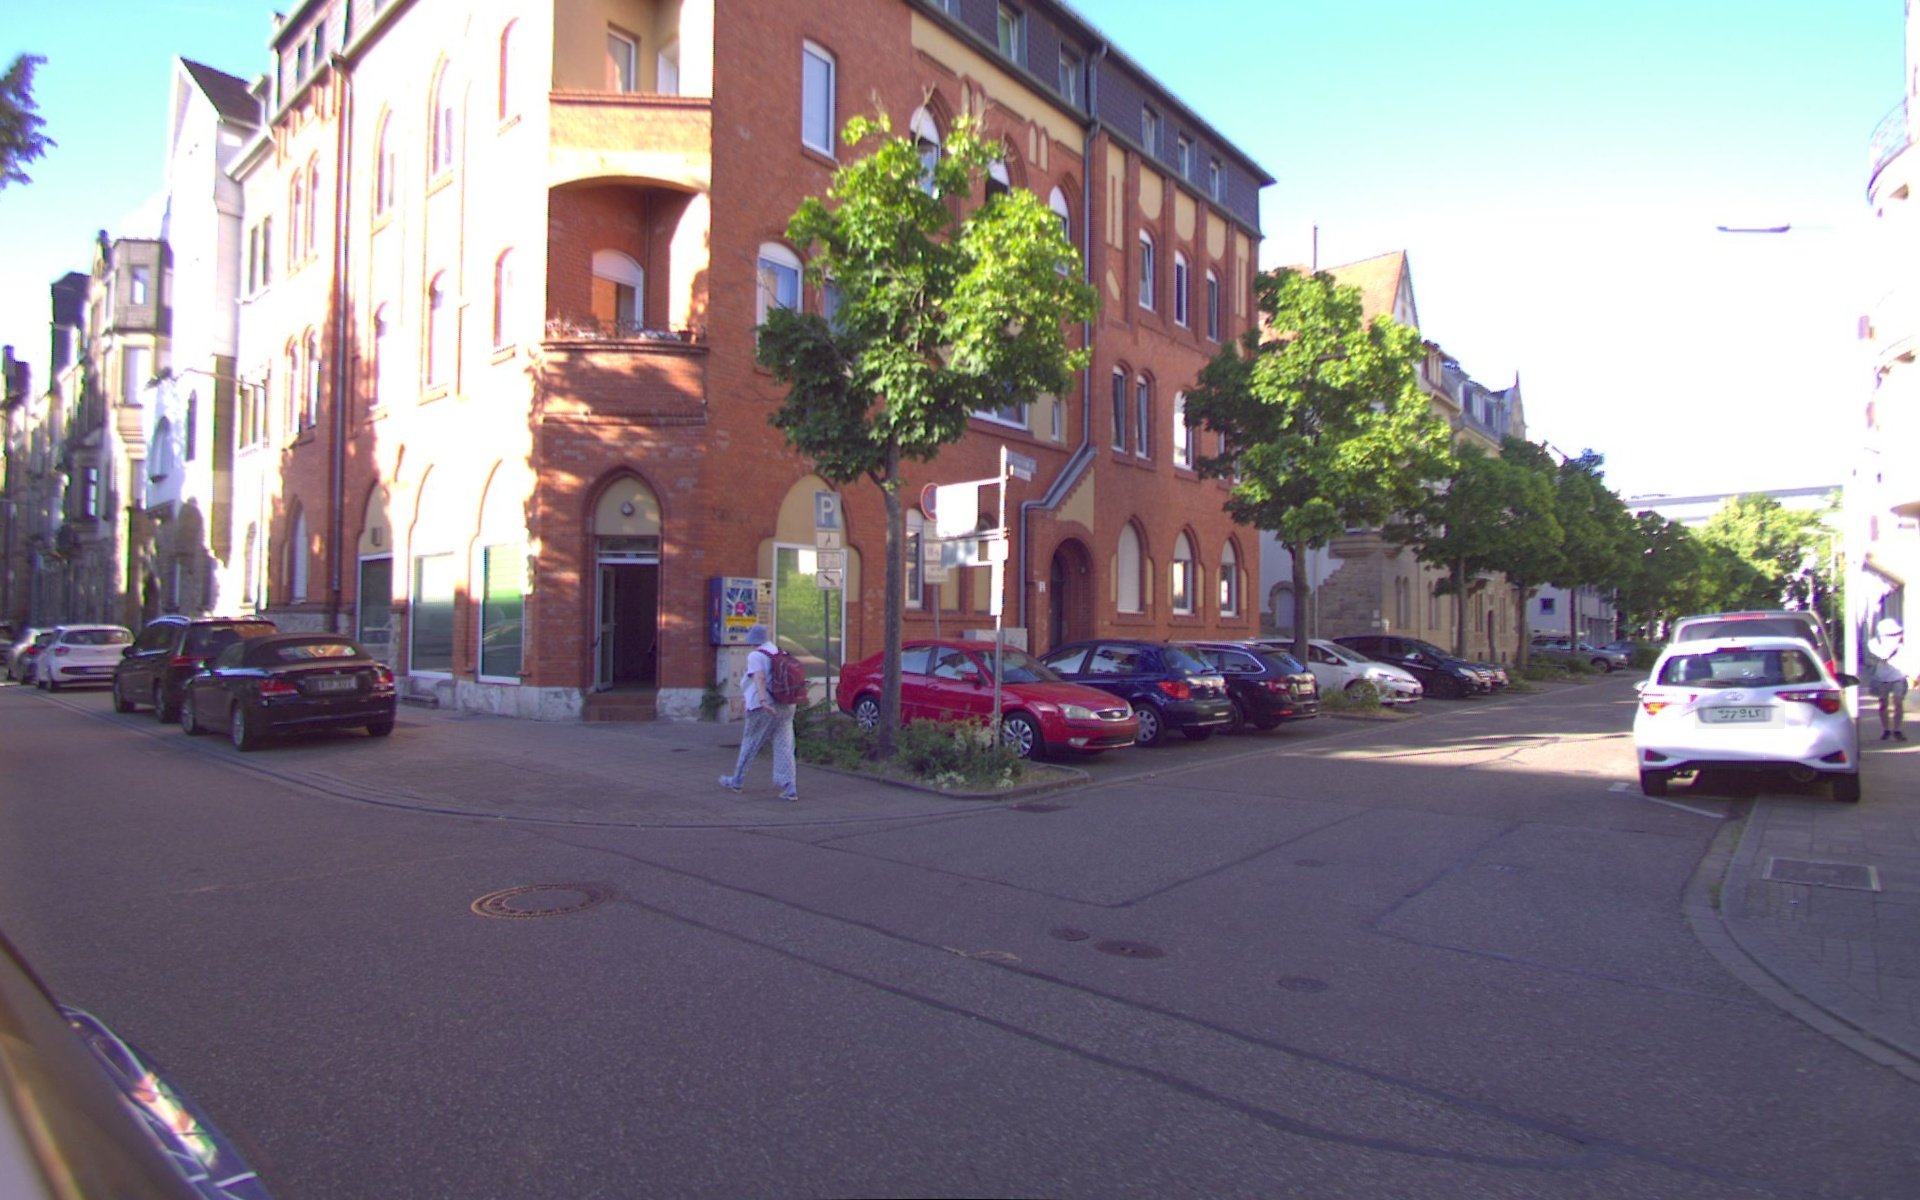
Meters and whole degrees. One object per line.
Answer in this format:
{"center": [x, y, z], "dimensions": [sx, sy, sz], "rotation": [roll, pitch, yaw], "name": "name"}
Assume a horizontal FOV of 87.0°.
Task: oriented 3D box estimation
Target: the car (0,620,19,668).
{"center": [-36.429, 1.630, 37.499], "dimensions": [4.337, 1.730, 1.856], "rotation": [-2, -2, 41], "name": "car"}

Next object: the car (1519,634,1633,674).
{"center": [27.891, 2.434, 45.887], "dimensions": [4.209, 1.713, 1.696], "rotation": [-1, -3, 40], "name": "car"}

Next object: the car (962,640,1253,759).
{"center": [2.176, 1.425, 15.609], "dimensions": [4.210, 1.562, 1.695], "rotation": [-1, -3, 41], "name": "car"}

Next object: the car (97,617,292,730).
{"center": [-13.018, 1.127, 17.122], "dimensions": [4.346, 1.693, 1.653], "rotation": [-1, -1, 39], "name": "car"}

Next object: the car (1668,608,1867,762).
{"center": [11.719, 1.176, 14.765], "dimensions": [1.865, 1.881, 4.666], "rotation": [-5, -5, 38], "name": "car"}

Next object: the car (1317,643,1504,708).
{"center": [11.823, 1.936, 26.724], "dimensions": [4.211, 1.562, 1.695], "rotation": [-2, -3, 42], "name": "car"}

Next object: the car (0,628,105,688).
{"center": [-24.362, 1.502, 27.044], "dimensions": [4.108, 1.454, 1.660], "rotation": [-2, -2, 40], "name": "car"}

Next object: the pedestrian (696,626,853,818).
{"center": [-1.707, 1.070, 9.314], "dimensions": [1.053, 1.589, 0.878], "rotation": [2, -1, 41], "name": "pedestrian"}

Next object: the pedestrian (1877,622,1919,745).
{"center": [13.507, 1.198, 14.367], "dimensions": [0.699, 1.700, 0.755], "rotation": [-1, -6, 42], "name": "pedestrian"}

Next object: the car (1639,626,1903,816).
{"center": [8.256, 1.121, 10.405], "dimensions": [1.716, 1.562, 3.758], "rotation": [-5, -5, 39], "name": "car"}

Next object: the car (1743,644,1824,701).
{"center": [21.788, 1.900, 26.828], "dimensions": [1.486, 1.416, 3.370], "rotation": [-5, -5, 38], "name": "car"}

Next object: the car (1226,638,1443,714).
{"center": [8.314, 1.747, 22.723], "dimensions": [4.211, 1.562, 1.694], "rotation": [-5, -7, 42], "name": "car"}

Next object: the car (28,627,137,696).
{"center": [-20.527, 1.381, 23.636], "dimensions": [3.591, 1.481, 1.549], "rotation": [-2, -2, 43], "name": "car"}

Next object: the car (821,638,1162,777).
{"center": [0.268, 1.303, 13.653], "dimensions": [4.656, 1.480, 1.618], "rotation": [-1, -1, 41], "name": "car"}

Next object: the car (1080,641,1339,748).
{"center": [4.124, 1.488, 17.068], "dimensions": [3.913, 1.523, 1.695], "rotation": [-1, -2, 41], "name": "car"}

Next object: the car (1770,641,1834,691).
{"center": [31.276, 2.452, 37.659], "dimensions": [1.651, 1.744, 3.370], "rotation": [-5, -5, 39], "name": "car"}

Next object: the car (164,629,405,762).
{"center": [-9.167, 1.149, 13.587], "dimensions": [4.331, 1.421, 1.618], "rotation": [-1, 0, 41], "name": "car"}

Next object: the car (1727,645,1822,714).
{"center": [18.330, 1.765, 22.810], "dimensions": [1.486, 1.416, 3.370], "rotation": [-5, -5, 38], "name": "car"}
